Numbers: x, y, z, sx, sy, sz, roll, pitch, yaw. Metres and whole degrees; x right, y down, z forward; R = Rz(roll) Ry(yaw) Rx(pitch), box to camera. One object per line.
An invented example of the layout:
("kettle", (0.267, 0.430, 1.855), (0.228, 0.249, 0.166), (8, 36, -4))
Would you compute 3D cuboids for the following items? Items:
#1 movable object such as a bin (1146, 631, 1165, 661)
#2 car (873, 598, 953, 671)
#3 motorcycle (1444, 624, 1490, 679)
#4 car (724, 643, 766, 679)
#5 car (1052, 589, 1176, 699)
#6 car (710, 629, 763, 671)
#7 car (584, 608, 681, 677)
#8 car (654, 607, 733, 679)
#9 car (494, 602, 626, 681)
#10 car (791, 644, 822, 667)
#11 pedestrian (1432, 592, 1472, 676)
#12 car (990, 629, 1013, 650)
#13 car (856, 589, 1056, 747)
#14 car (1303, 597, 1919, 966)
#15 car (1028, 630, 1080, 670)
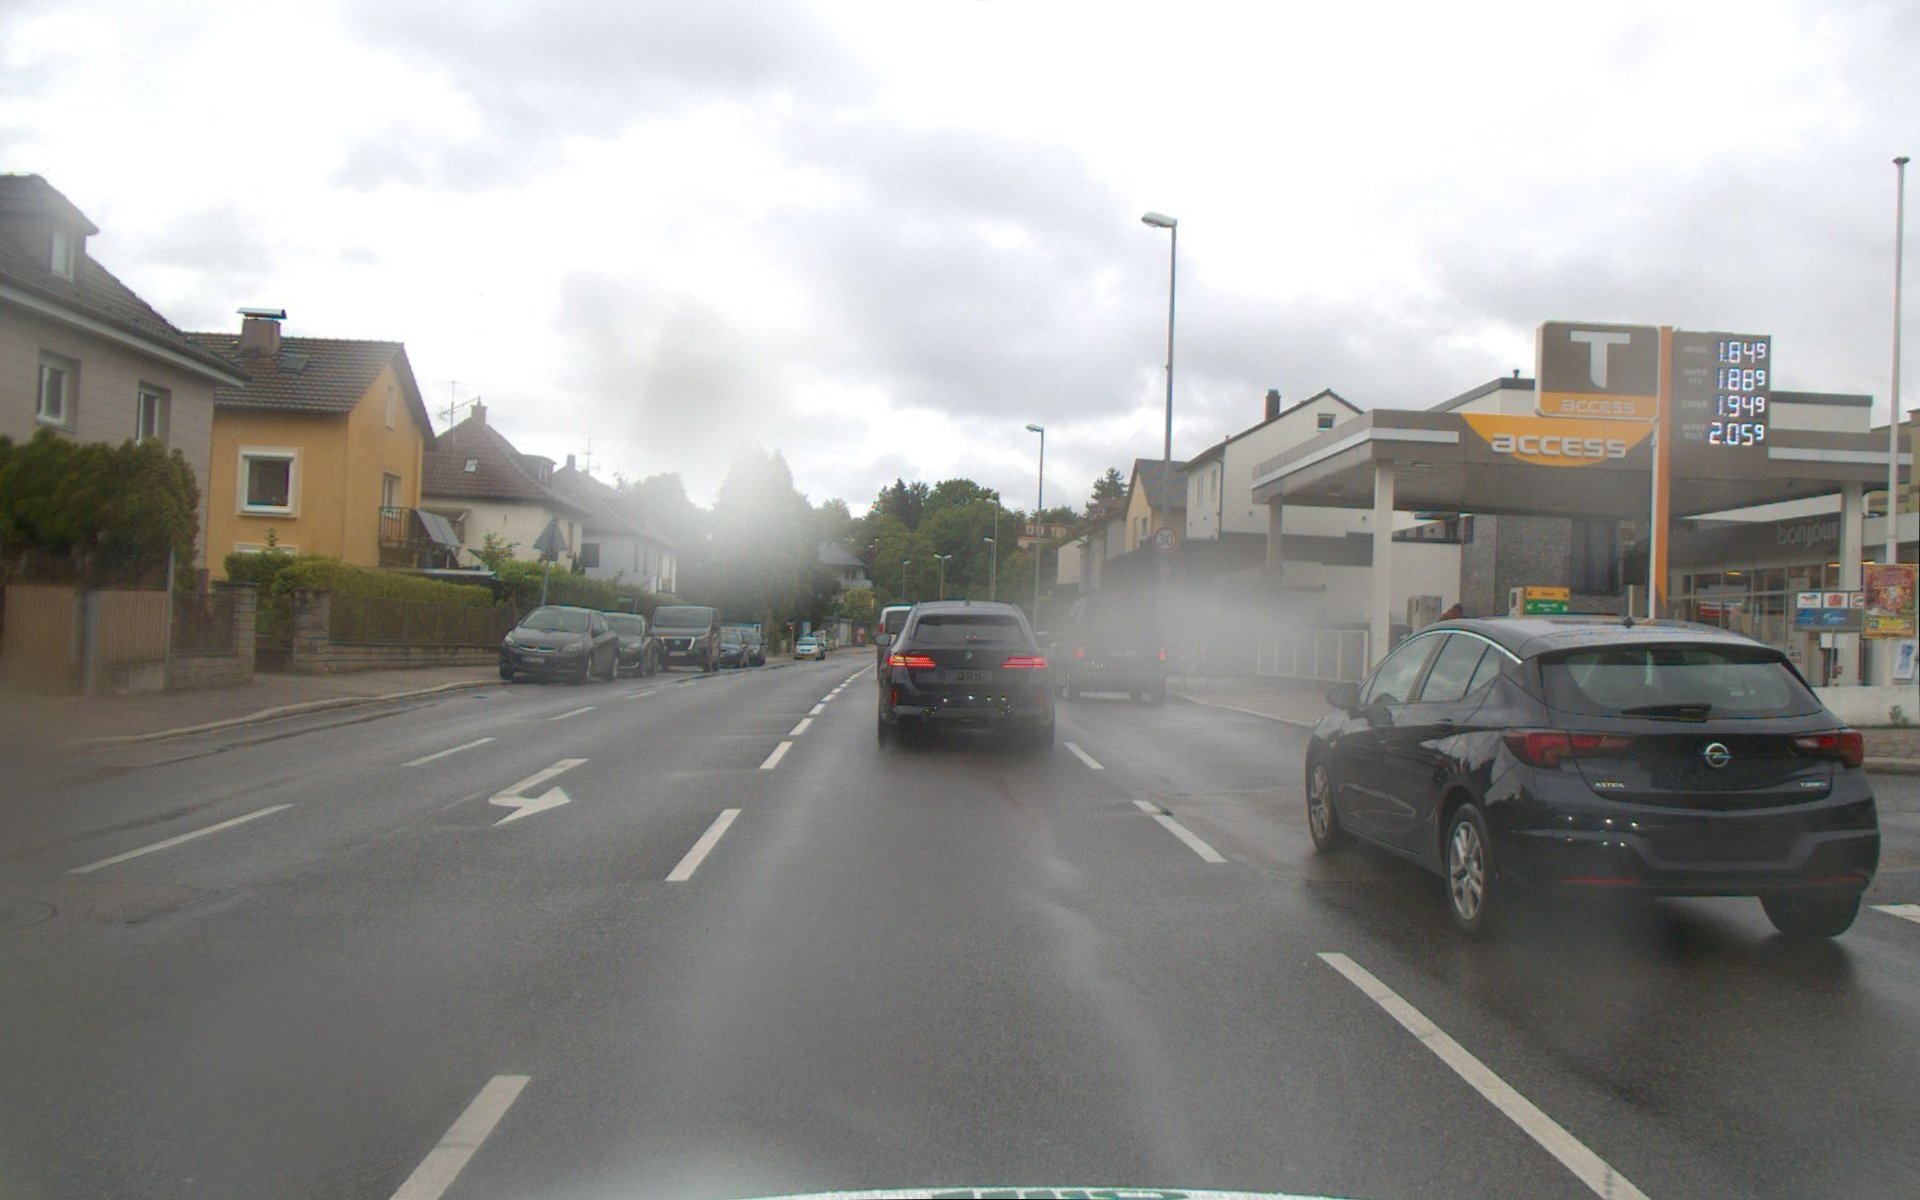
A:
("movable object such as a bin", (7.301, 1.728, 61.895), (0.583, 1.124, 0.667), (-1, -2, -2))
("car", (-1.231, 0.934, 43.507), (1.953, 1.768, 3.998), (2, -2, -1))
("motorcycle", (10.170, 1.035, 33.229), (0.453, 1.074, 1.390), (2, -2, -2))
("car", (-9.349, 2.647, 72.049), (1.520, 1.456, 4.010), (2, -2, -4))
("car", (2.705, 0.803, 29.828), (1.801, 1.798, 3.999), (2, -2, 0))
("car", (-8.877, 1.996, 65.917), (1.722, 1.560, 4.282), (2, -2, -4))
("car", (-7.942, 1.056, 40.492), (1.715, 1.543, 4.523), (2, -2, -4))
("car", (-8.086, 1.325, 50.550), (1.875, 2.038, 5.082), (2, -2, -4))
("car", (-8.138, 0.871, 33.979), (1.714, 1.465, 4.128), (2, -2, -1))
("car", (-10.993, 3.980, 118.579), (1.846, 1.613, 3.998), (2, -2, -2))
("pedestrian", (9.980, 0.695, 33.554), (0.597, 1.685, 0.585), (2, -2, -2))
("car", (4.724, 4.489, 188.861), (2.469, 2.048, 5.610), (2, 1, 2))
("car", (-0.071, 0.742, 18.402), (1.953, 1.510, 3.998), (2, -2, -1))
("car", (3.177, 0.747, 8.811), (1.721, 1.474, 3.998), (2, 0, -2))
("car", (3.824, 2.049, 67.669), (1.666, 1.537, 4.532), (2, -2, -2))
